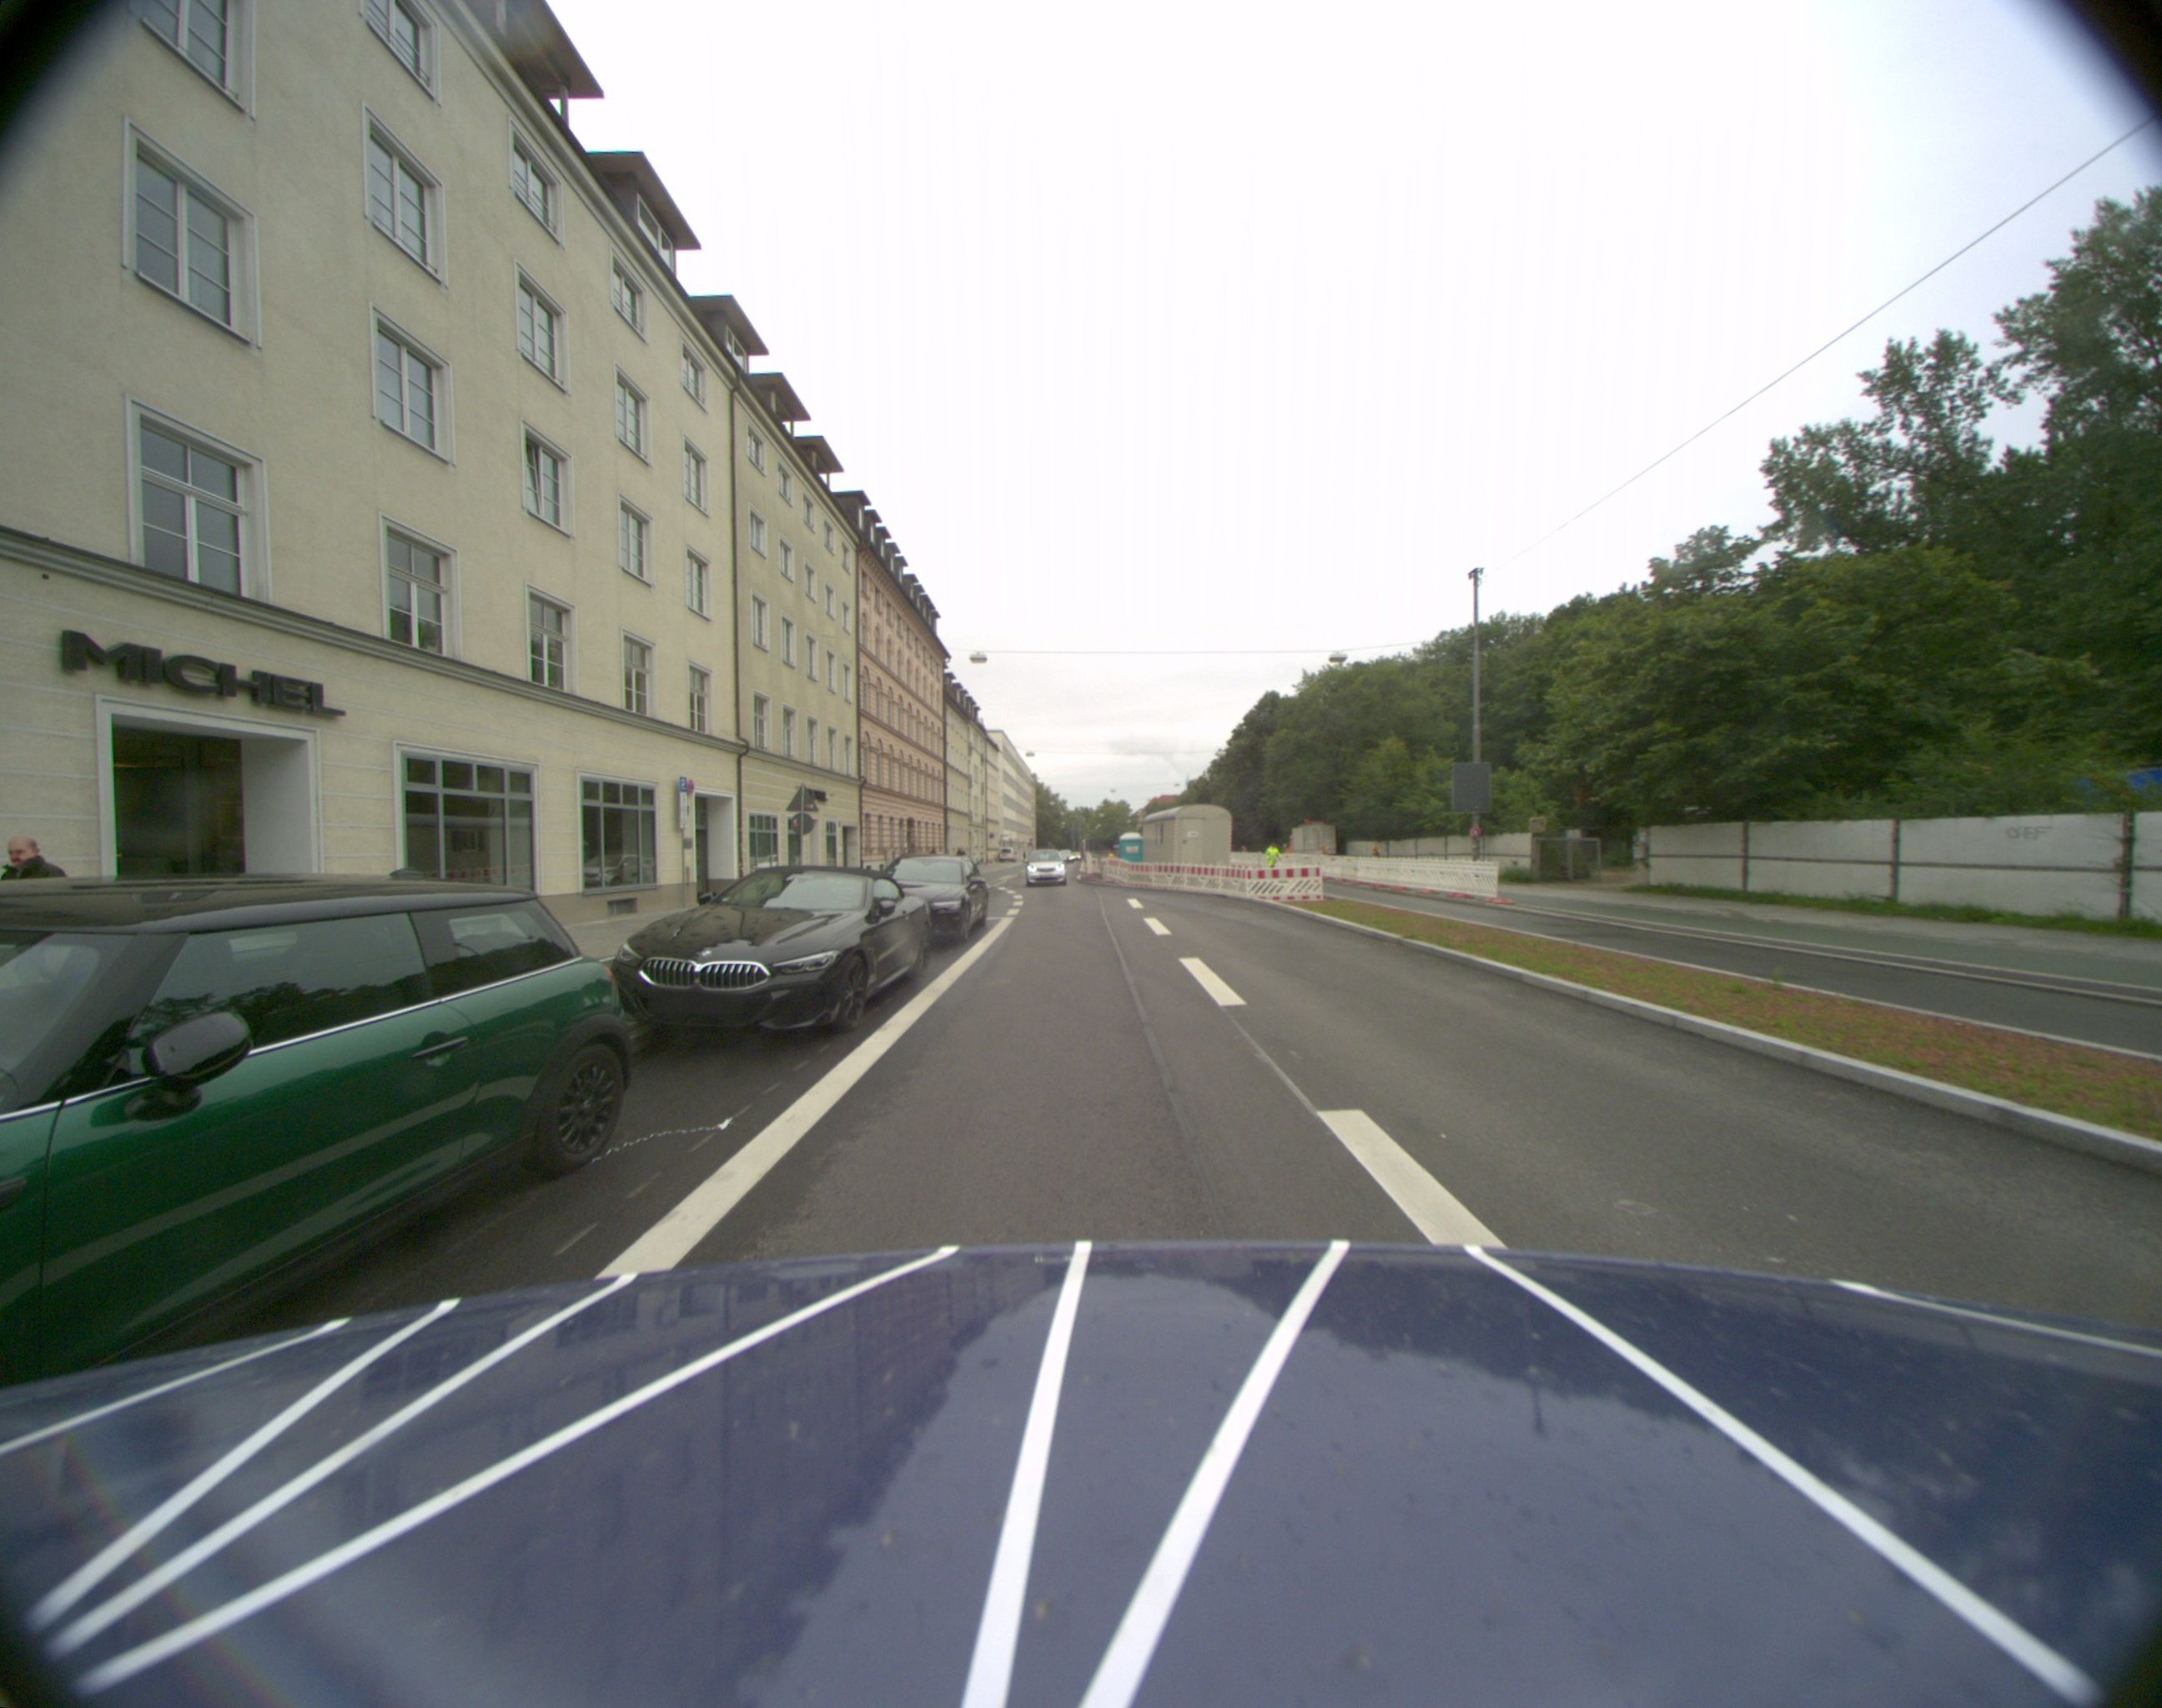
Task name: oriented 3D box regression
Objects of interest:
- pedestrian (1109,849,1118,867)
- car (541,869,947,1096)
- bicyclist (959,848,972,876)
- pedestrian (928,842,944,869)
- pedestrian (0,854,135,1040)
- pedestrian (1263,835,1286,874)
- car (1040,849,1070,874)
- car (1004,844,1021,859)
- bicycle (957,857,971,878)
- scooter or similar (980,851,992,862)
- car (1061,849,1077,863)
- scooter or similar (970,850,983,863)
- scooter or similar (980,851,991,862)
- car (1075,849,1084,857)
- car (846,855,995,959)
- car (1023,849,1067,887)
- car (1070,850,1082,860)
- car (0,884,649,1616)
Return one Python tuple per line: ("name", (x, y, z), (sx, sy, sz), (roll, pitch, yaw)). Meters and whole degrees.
("pedestrian", (3.409, 0.408, 79.909), (0.860, 1.826, 0.874), (-1, 1, -7))
("car", (-2.777, 0.951, 7.678), (1.830, 1.399, 4.719), (-2, 1, 2))
("bicyclist", (-6.015, 0.394, 39.579), (0.632, 1.459, 0.652), (-1, 1, -6))
("pedestrian", (-9.419, 0.111, 49.346), (0.795, 1.735, 0.833), (-1, 1, 1))
("pedestrian", (-10.078, 0.848, 7.329), (0.780, 1.679, 0.861), (0, 1, 1))
("pedestrian", (9.804, 0.014, 38.500), (0.890, 1.930, 0.875), (-1, 1, -2))
("car", (-1.670, 0.457, 48.119), (1.759, 1.461, 3.998), (-2, 1, -3))
("car", (-8.571, -0.378, 95.064), (1.766, 1.821, 3.999), (-1, 1, 0))
("bicycle", (-6.080, 0.711, 39.561), (0.632, 1.031, 2.016), (-1, 1, -6))
("scooter or similar", (-9.660, 0.247, 77.415), (1.078, 1.185, 0.453), (-1, 1, -29))
("car", (-1.379, 0.165, 86.347), (1.759, 1.461, 3.999), (-2, 1, -1))
("scooter or similar", (-9.964, 0.267, 72.476), (0.552, 1.238, 1.079), (0, 1, 35))
("scooter or similar", (-9.922, 0.249, 78.751), (1.079, 1.185, 0.436), (-1, 1, -39))
("car", (-0.394, -0.215, 163.070), (1.759, 1.461, 3.999), (-2, 1, -1))
("car", (-2.734, 0.831, 13.970), (1.813, 1.472, 4.461), (3, 1, -1))
("car", (-1.571, 0.562, 32.999), (1.759, 1.461, 3.998), (-2, 1, -3))
("car", (-0.864, 0.174, 120.370), (1.759, 1.461, 3.999), (-2, 1, -1))
("car", (-3.258, 0.966, 2.205), (1.679, 1.512, 3.829), (-2, 1, 2))
